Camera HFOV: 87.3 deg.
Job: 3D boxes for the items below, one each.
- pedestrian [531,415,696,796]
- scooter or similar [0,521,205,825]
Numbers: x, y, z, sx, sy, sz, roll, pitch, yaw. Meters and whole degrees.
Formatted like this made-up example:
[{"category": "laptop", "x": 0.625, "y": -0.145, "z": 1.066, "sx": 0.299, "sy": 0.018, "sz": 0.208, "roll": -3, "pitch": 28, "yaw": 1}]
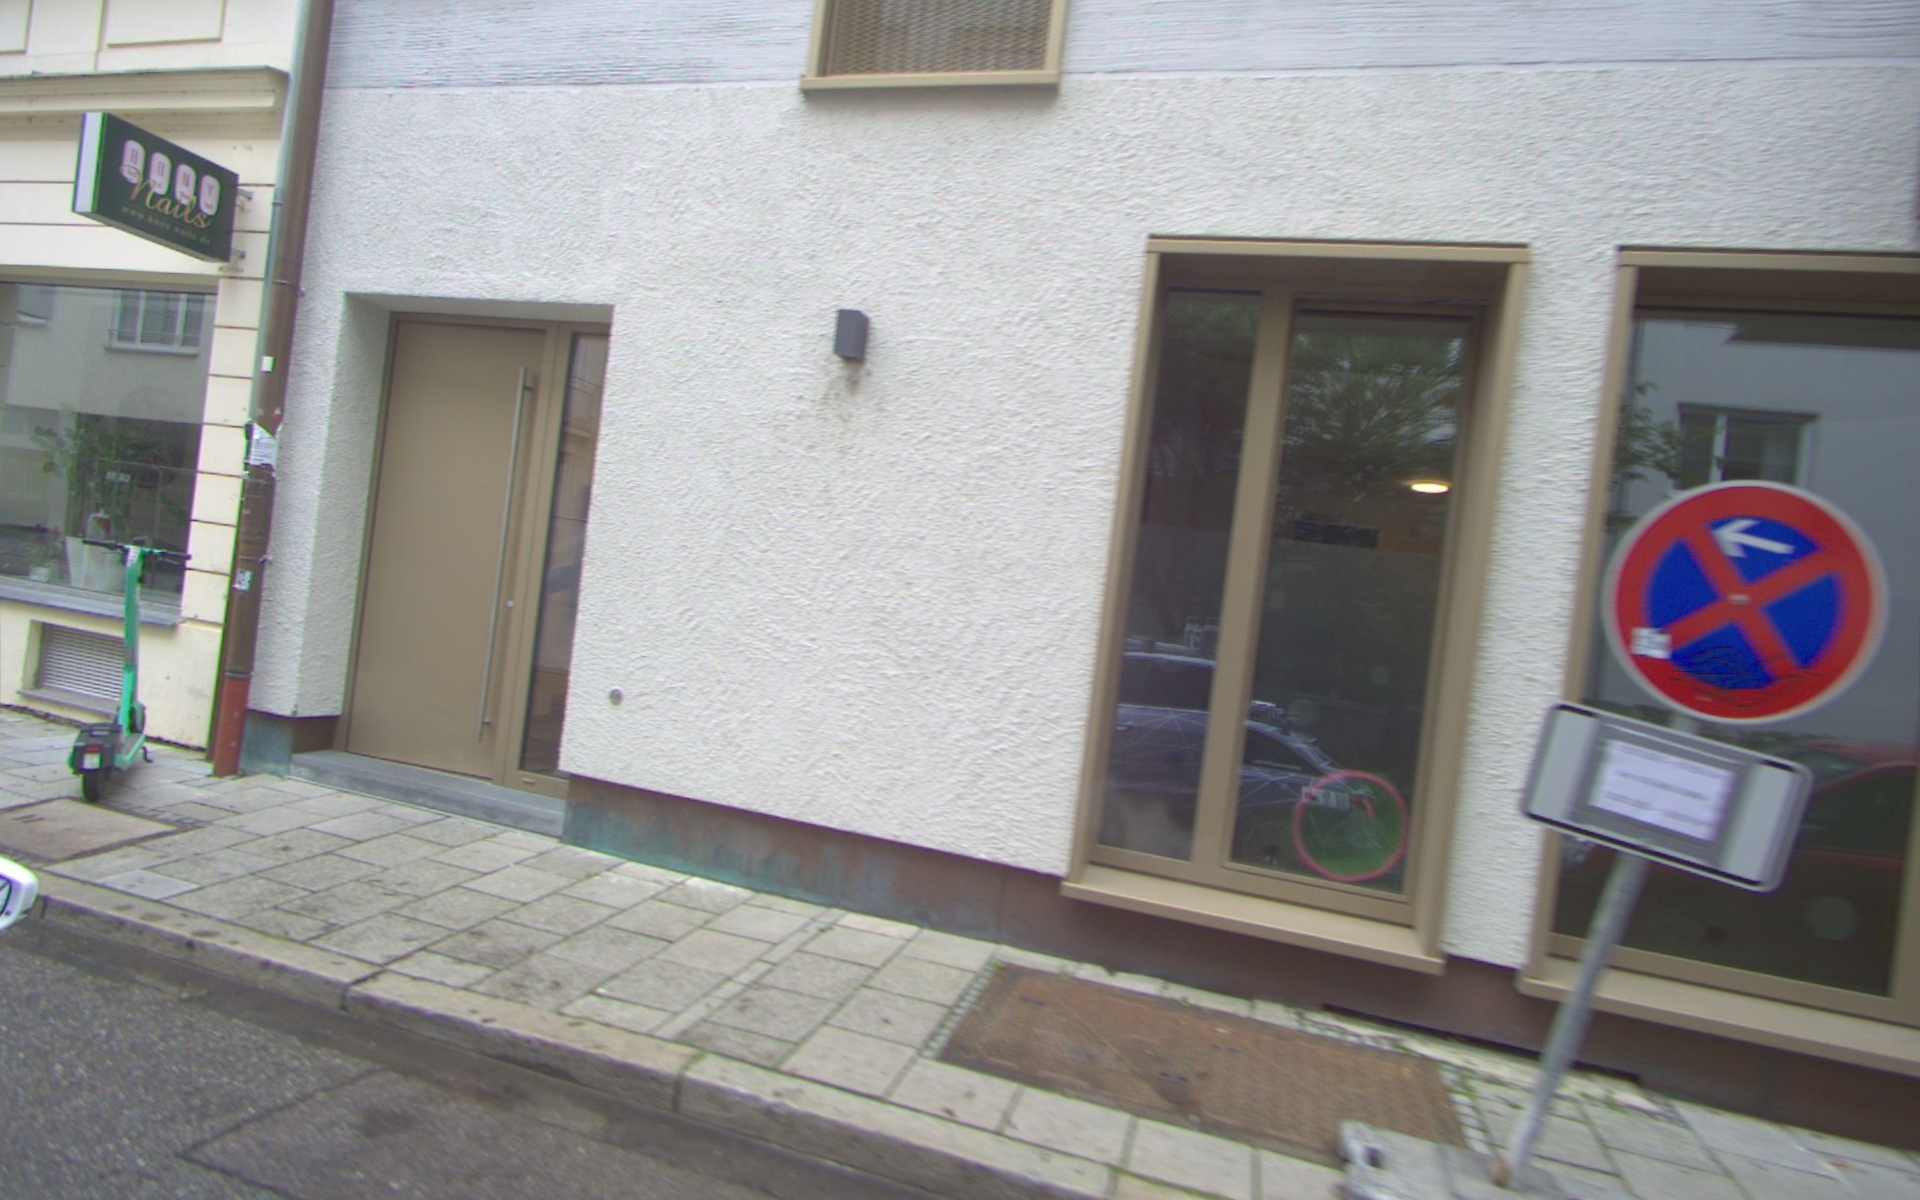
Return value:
[{"category": "pedestrian", "x": -2.008, "y": 0.010, "z": 5.789, "sx": 0.782, "sy": 2.041, "sz": 0.433, "roll": 9, "pitch": 4, "yaw": 43}, {"category": "scooter or similar", "x": -4.094, "y": 0.271, "z": 4.888, "sx": 0.490, "sy": 1.199, "sz": 1.593, "roll": 4, "pitch": 3, "yaw": -33}]
